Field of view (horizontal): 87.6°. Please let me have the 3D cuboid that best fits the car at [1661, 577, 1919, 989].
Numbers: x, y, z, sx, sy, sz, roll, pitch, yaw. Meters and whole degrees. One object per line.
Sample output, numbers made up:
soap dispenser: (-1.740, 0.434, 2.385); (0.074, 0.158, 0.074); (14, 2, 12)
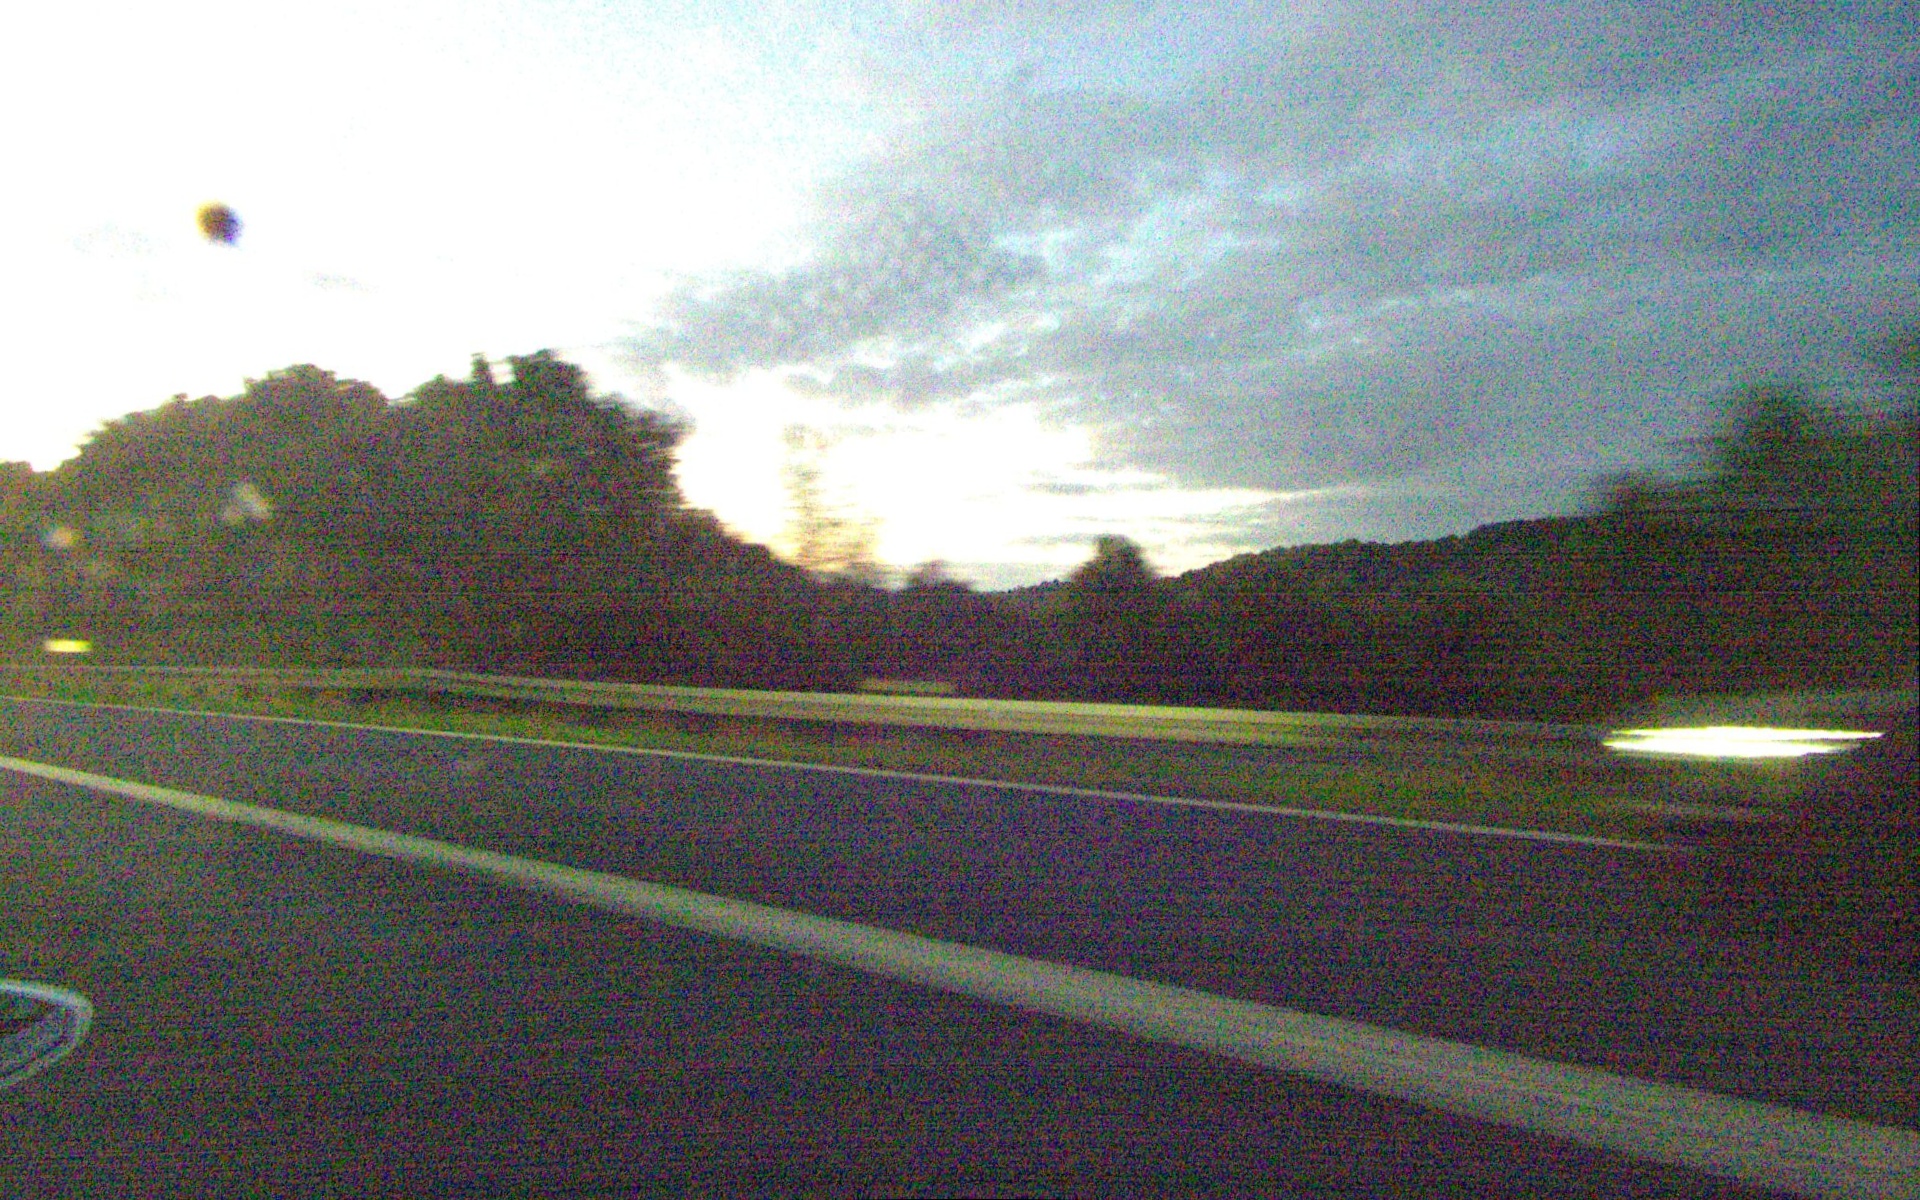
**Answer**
car: (5.943, 0.768, 3.906); (5.084, 1.665, 1.797); (-1, -4, 30)
